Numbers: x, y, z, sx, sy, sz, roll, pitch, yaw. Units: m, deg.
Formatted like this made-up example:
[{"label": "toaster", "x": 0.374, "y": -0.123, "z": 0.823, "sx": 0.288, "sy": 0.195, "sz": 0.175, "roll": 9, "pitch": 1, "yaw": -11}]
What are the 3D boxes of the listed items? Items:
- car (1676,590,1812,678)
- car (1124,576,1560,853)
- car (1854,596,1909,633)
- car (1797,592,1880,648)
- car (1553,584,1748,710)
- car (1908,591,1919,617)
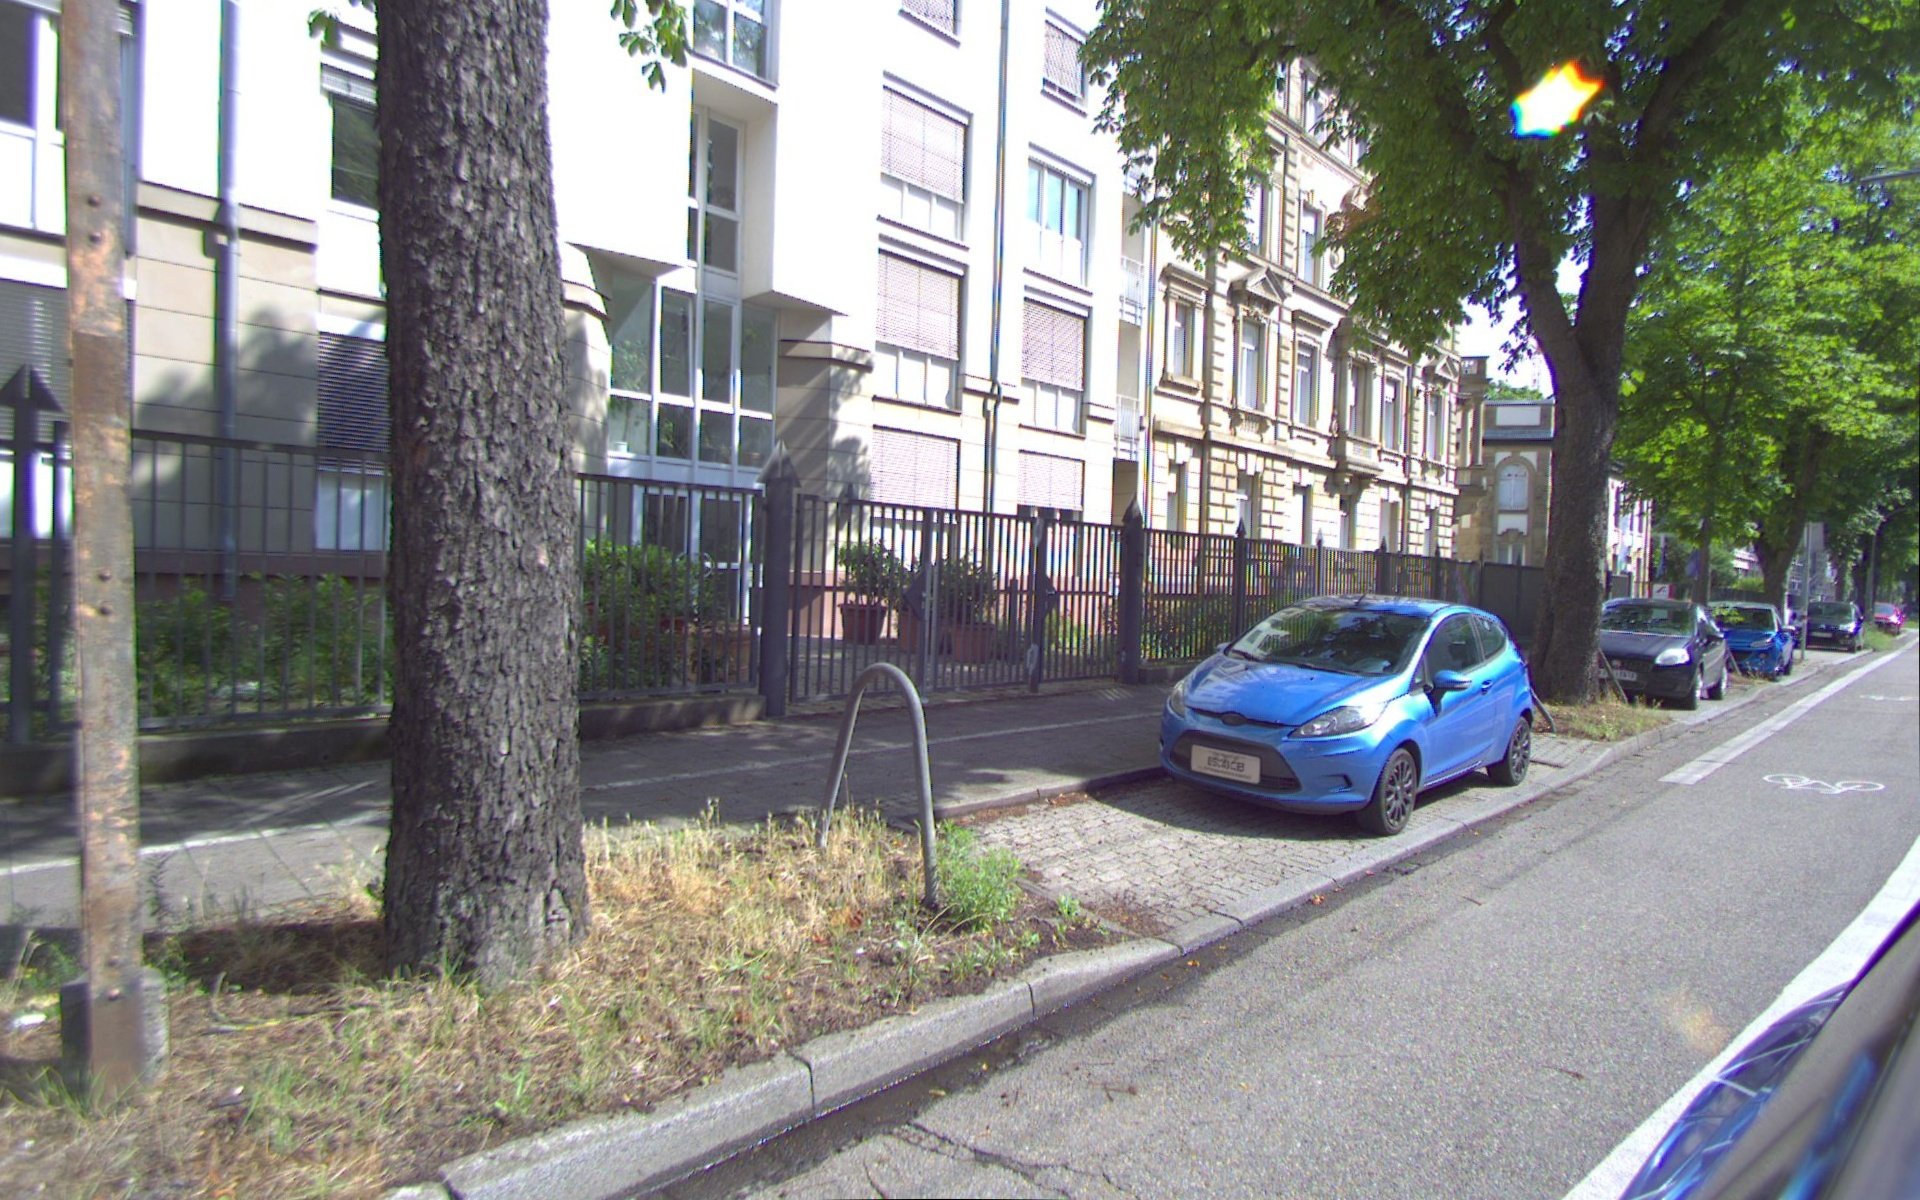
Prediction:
[{"label": "car", "x": 15.964, "y": 0.623, "z": 20.545, "sx": 1.676, "sy": 1.493, "sz": 3.602, "roll": 7, "pitch": 5, "yaw": 44}, {"label": "car", "x": 3.031, "y": 0.651, "z": 7.677, "sx": 3.600, "sy": 1.493, "sz": 1.645, "roll": 0, "pitch": 5, "yaw": -44}, {"label": "car", "x": 44.996, "y": 0.690, "z": 49.391, "sx": 1.741, "sy": 1.592, "sz": 3.867, "roll": 7, "pitch": 5, "yaw": 44}, {"label": "car", "x": 29.009, "y": 0.623, "z": 33.377, "sx": 1.741, "sy": 1.592, "sz": 3.602, "roll": 7, "pitch": 5, "yaw": 44}, {"label": "car", "x": 10.203, "y": 0.592, "z": 14.863, "sx": 1.676, "sy": 1.493, "sz": 3.602, "roll": 7, "pitch": 5, "yaw": 44}, {"label": "car", "x": 62.925, "y": 0.302, "z": 65.738, "sx": 1.741, "sy": 1.592, "sz": 3.867, "roll": 7, "pitch": 5, "yaw": 44}]
